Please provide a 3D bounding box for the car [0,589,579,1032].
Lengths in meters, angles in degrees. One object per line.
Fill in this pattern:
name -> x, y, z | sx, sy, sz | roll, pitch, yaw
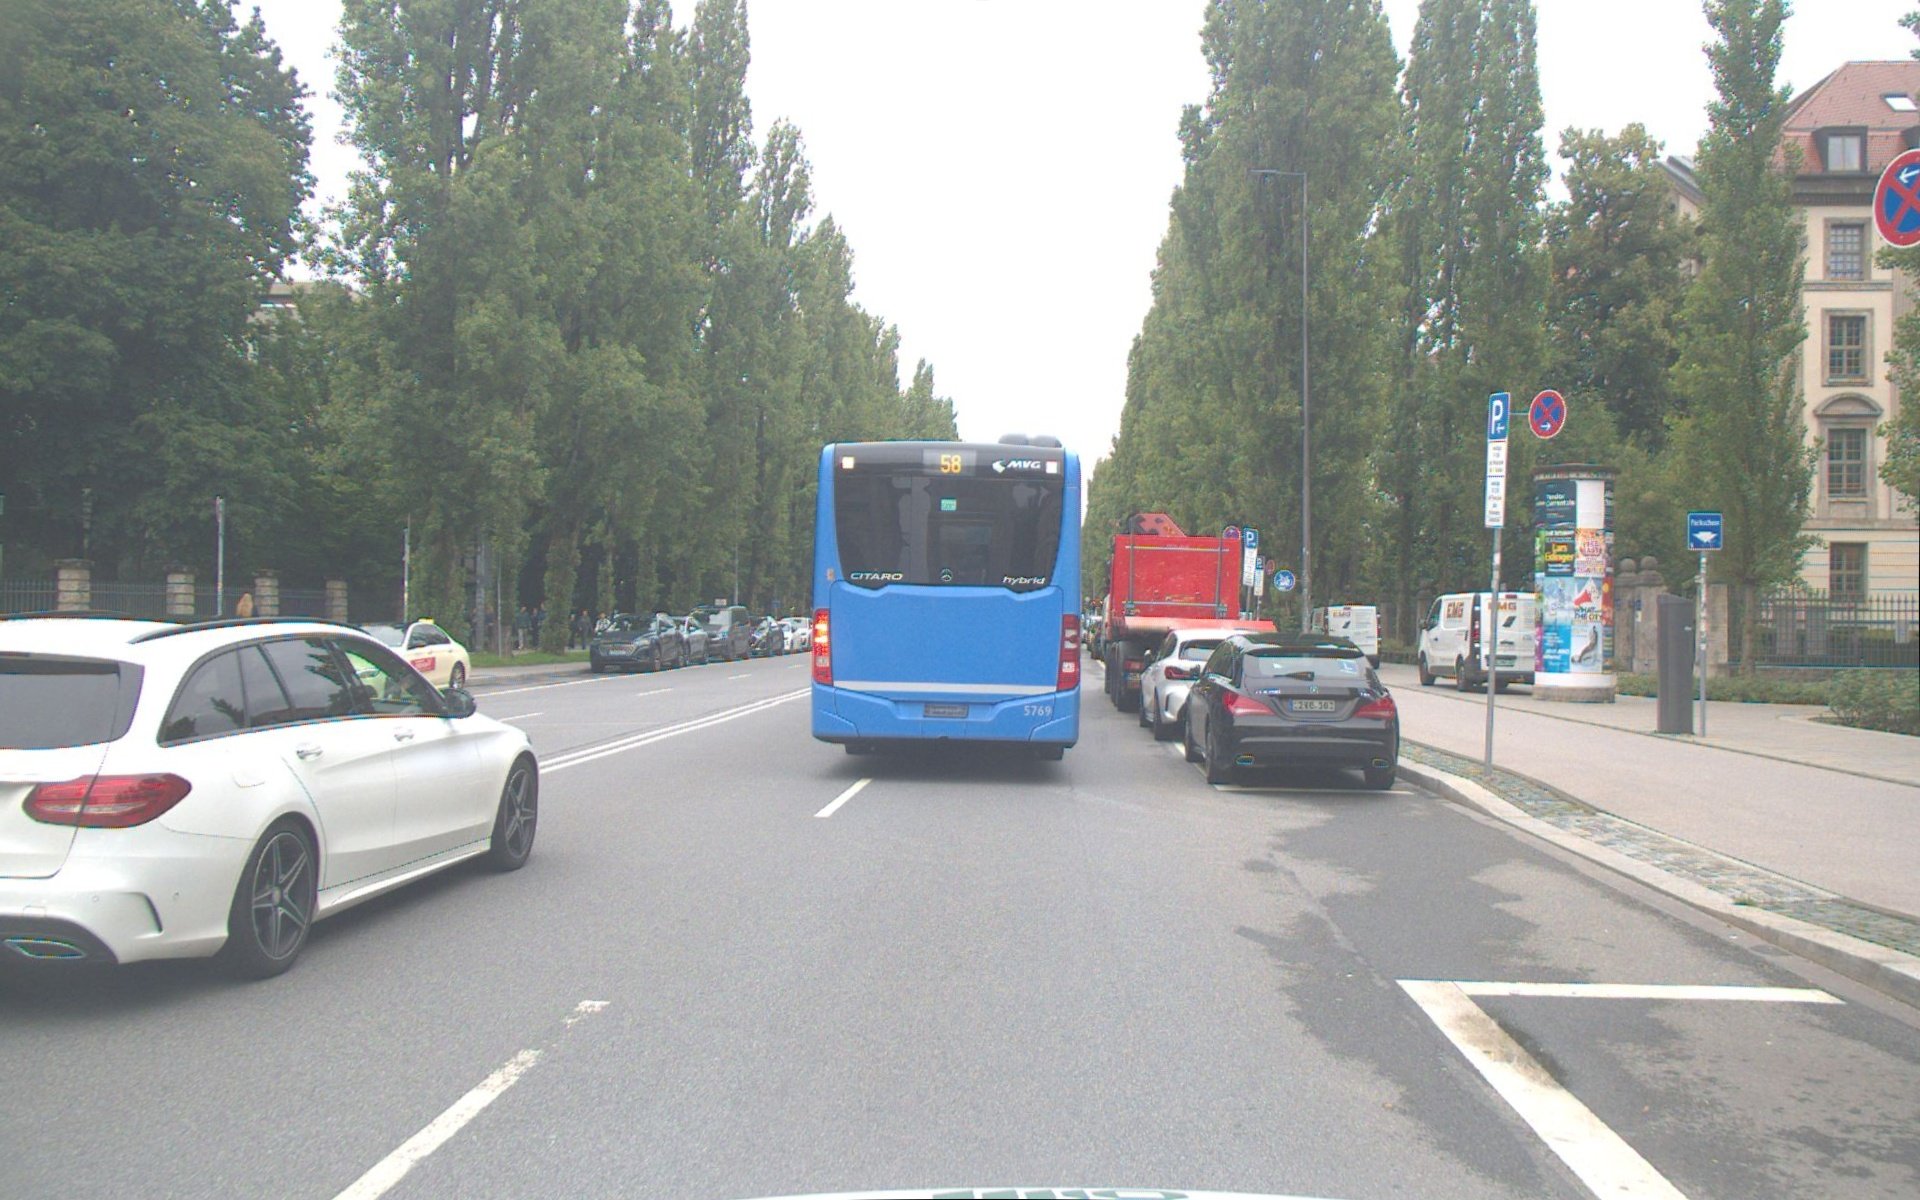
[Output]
car -> -3.442, 0.727, 7.932 | 1.787, 1.480, 4.585 | 1, -1, 5

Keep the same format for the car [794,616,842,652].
car -> -7.238, 1.711, 84.898 | 1.841, 1.687, 4.719 | -2, 0, 2

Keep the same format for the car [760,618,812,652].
car -> -7.764, 1.548, 74.002 | 1.641, 1.447, 4.239 | -1, -1, 3

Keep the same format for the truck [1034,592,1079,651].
truck -> 5.074, 1.119, 87.549 | 2.279, 2.949, 7.335 | 1, -1, 3

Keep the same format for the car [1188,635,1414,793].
car -> 3.312, 1.049, 16.795 | 1.699, 1.333, 4.372 | 0, 0, 4

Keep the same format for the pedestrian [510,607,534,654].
pedestrian -> -17.949, 1.240, 67.814 | 0.731, 1.887, 0.757 | 1, -1, 4

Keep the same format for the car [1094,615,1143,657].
car -> 6.479, 1.466, 67.821 | 1.783, 1.618, 4.224 | 1, -1, 3

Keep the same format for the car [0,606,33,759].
car -> -11.393, 0.854, 15.932 | 1.897, 1.653, 4.966 | 0, -1, 3

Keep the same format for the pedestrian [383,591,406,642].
pedestrian -> -22.984, 0.680, 67.191 | 0.682, 2.049, 0.561 | 1, -1, 3

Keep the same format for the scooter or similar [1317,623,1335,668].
scooter or similar -> 10.449, 1.290, 47.228 | 0.329, 1.288, 1.186 | 0, -1, 4

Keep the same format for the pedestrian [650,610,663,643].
pedestrian -> -16.422, 1.417, 89.519 | 0.538, 1.778, 0.673 | 1, -1, 3

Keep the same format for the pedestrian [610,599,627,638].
pedestrian -> -15.999, 0.862, 77.482 | 0.596, 1.787, 0.757 | 0, -1, 2

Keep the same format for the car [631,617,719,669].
car -> -9.310, 1.364, 54.374 | 1.851, 1.612, 4.656 | -1, -1, 3

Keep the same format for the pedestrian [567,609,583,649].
pedestrian -> -16.731, 1.245, 71.855 | 0.498, 1.737, 0.570 | 1, -1, 4

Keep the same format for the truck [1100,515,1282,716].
truck -> 4.092, 0.294, 31.361 | 2.656, 3.164, 10.430 | 0, -1, 4

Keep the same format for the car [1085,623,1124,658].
car -> 7.122, 1.968, 81.876 | 1.744, 1.609, 4.148 | 2, -1, 3

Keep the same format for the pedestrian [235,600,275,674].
pedestrian -> -16.979, 0.882, 39.825 | 0.570, 1.750, 0.787 | 1, -1, 2

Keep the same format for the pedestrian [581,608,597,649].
pedestrian -> -16.134, 1.232, 71.956 | 0.498, 1.737, 0.570 | 1, -1, 4

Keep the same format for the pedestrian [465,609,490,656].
pedestrian -> -18.338, 1.225, 62.848 | 0.653, 1.752, 0.733 | 0, -1, 4

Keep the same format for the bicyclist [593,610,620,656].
bicyclist -> -11.865, 1.114, 55.528 | 0.679, 1.524, 0.862 | 0, -1, 2

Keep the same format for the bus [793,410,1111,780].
bus -> 0.013, -0.007, 19.337 | 2.797, 3.270, 9.060 | 1, -1, 1

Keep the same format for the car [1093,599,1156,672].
car -> 6.063, 1.291, 61.604 | 2.031, 2.522, 6.286 | 1, -1, 3

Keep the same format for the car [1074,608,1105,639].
car -> 8.822, 1.613, 113.052 | 2.009, 2.049, 5.695 | 0, 0, 4

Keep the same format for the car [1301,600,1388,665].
car -> 12.449, 1.036, 53.828 | 1.951, 1.980, 5.085 | 0, -1, 4

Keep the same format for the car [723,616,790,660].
car -> -8.155, 1.518, 66.714 | 1.777, 1.637, 5.054 | -2, -1, 3

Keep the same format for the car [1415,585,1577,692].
car -> 10.857, 0.754, 33.902 | 1.841, 1.979, 4.886 | 2, 0, 2

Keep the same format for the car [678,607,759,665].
car -> -8.770, 1.273, 60.577 | 1.952, 1.991, 4.939 | -1, -1, 3

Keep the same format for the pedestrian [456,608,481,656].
pedestrian -> -17.513, 1.147, 58.965 | 0.605, 1.689, 0.705 | 1, -1, 4

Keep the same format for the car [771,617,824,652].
car -> -7.739, 1.641, 79.250 | 1.748, 1.616, 4.463 | -2, -1, 4

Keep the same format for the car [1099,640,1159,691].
car -> 5.505, 2.111, 54.221 | 1.718, 1.475, 4.001 | 3, 0, 3

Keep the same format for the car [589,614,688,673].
car -> -9.401, 1.238, 48.750 | 1.745, 1.624, 4.615 | -2, -1, 3

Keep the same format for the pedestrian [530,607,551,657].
pedestrian -> -17.326, 1.319, 68.348 | 0.652, 2.049, 0.639 | 1, -1, 3

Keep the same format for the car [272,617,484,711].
car -> -10.487, 1.104, 30.230 | 1.890, 1.523, 4.792 | 0, 0, 4

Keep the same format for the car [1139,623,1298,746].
car -> 3.468, 1.084, 22.870 | 1.750, 1.485, 4.219 | 1, 0, 3

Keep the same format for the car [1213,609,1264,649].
car -> 14.386, 1.495, 85.562 | 1.952, 1.959, 5.325 | 1, -1, 3
